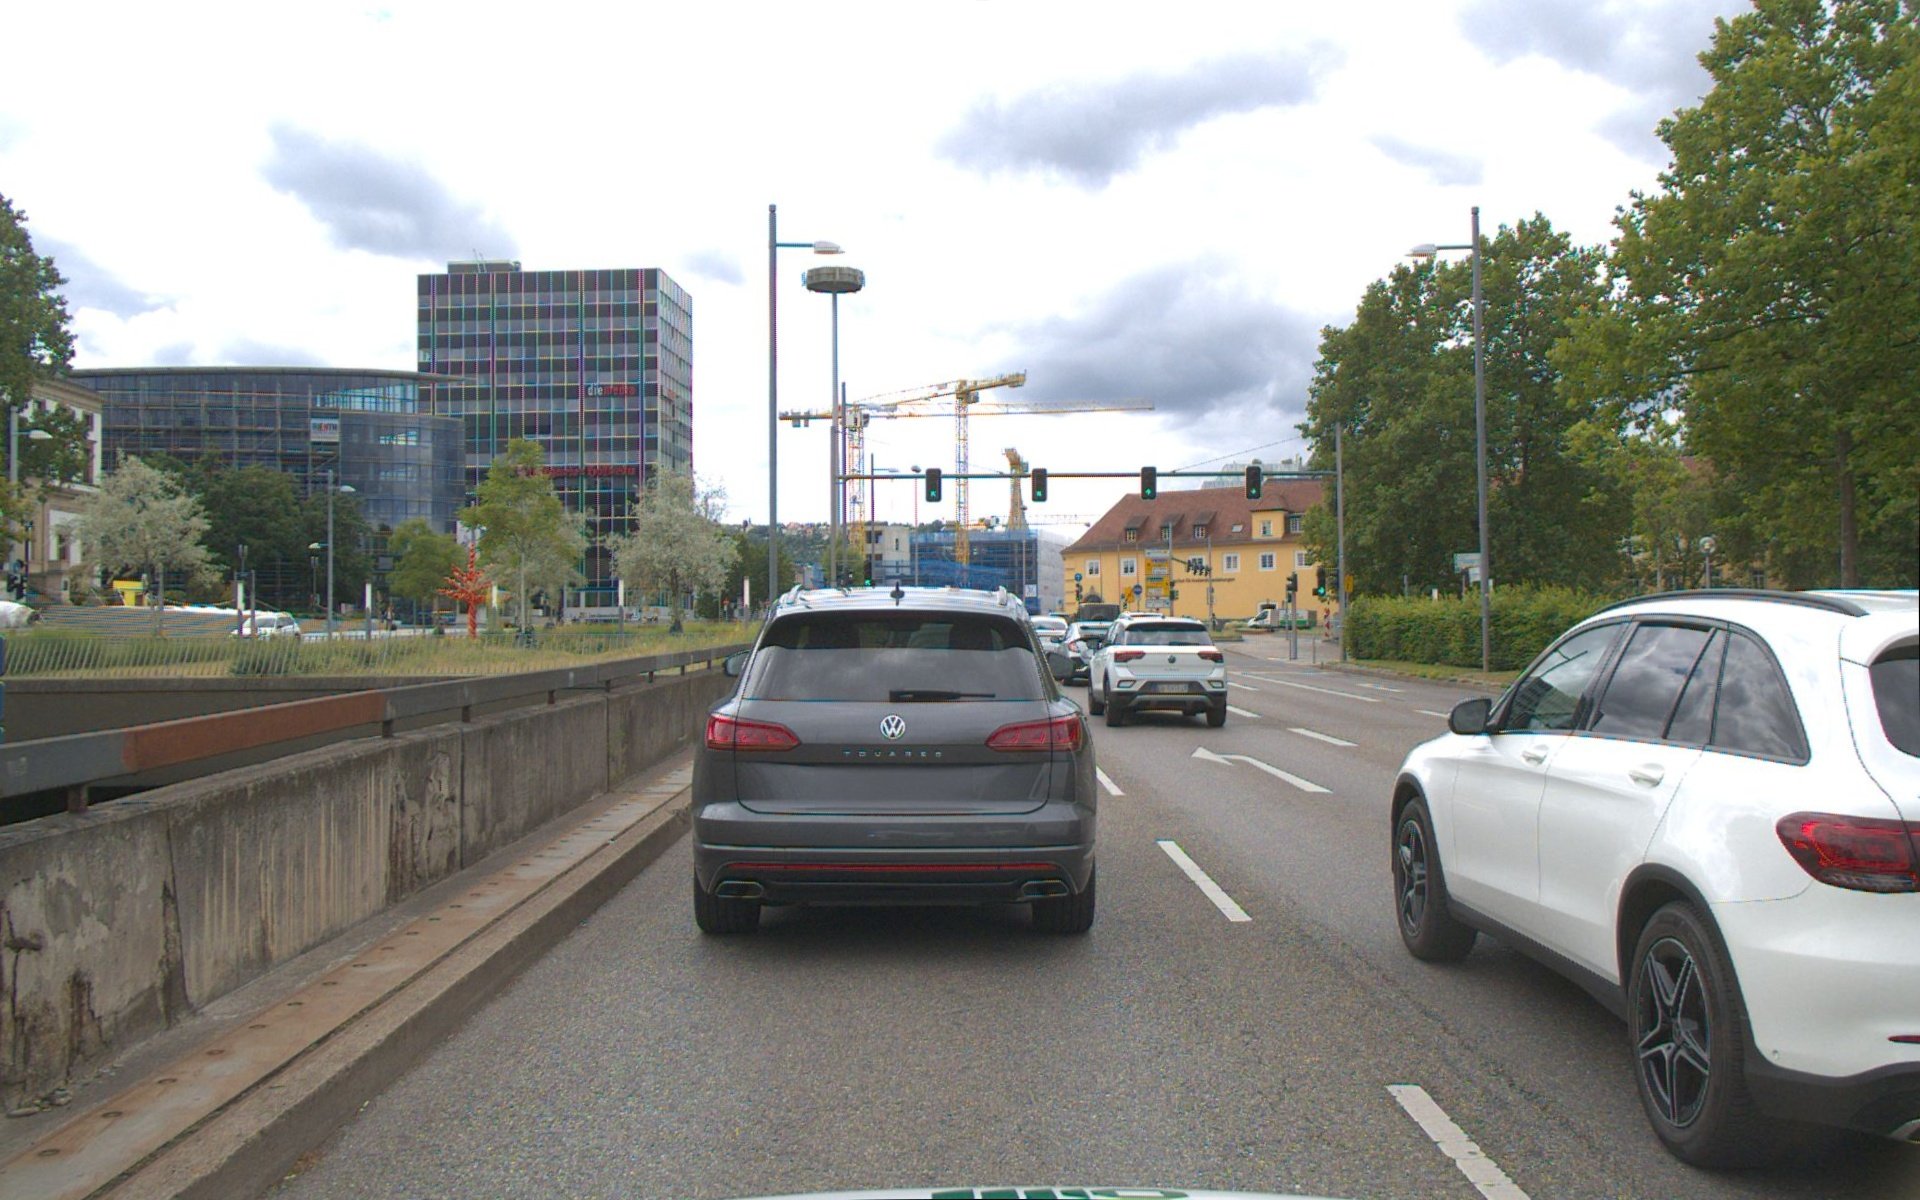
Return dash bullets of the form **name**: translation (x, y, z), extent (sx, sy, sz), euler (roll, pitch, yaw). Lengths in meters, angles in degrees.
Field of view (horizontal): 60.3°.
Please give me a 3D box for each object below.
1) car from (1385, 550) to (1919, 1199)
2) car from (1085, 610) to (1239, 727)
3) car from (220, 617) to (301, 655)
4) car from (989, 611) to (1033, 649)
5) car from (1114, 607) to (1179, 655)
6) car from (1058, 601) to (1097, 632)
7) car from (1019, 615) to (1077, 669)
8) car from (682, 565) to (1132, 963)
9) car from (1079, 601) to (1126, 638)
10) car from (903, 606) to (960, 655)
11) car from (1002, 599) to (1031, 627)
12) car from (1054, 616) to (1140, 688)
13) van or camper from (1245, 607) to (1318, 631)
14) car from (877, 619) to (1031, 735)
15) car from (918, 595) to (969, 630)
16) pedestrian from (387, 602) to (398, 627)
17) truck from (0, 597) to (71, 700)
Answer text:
- **car**: translation (2.969, 0.732, 5.966), extent (1.781, 1.676, 4.379), euler (0, 0, 0)
- **car**: translation (2.986, 0.971, 25.195), extent (1.855, 1.613, 3.800), euler (0, 0, -1)
- **car**: translation (-31.452, 1.606, 74.512), extent (1.683, 1.602, 4.612), euler (0, 0, 0)
- **car**: translation (2.457, 1.446, 79.436), extent (2.095, 1.758, 4.071), euler (0, -1, 2)
- **car**: translation (6.213, 1.011, 55.495), extent (1.766, 1.529, 3.981), euler (0, 0, 0)
- **car**: translation (5.945, 0.811, 83.959), extent (1.683, 1.529, 3.981), euler (0, 0, 0)
- **car**: translation (2.684, 1.250, 50.666), extent (1.683, 1.529, 3.982), euler (0, 0, 3)
- **car**: translation (-0.243, 0.699, 9.005), extent (1.893, 1.676, 3.999), euler (0, 0, -1)
- **car**: translation (6.082, 0.812, 70.744), extent (1.683, 1.529, 3.981), euler (0, 0, 0)
- **car**: translation (-0.917, 0.953, 53.478), extent (1.777, 1.522, 3.905), euler (0, 0, -1)
- **car**: translation (4.183, 0.978, 122.945), extent (1.953, 2.049, 3.999), euler (0, 0, -1)
- **car**: translation (3.114, 1.157, 38.243), extent (1.683, 1.529, 4.144), euler (0, 0, 0)
- **van or camper**: translation (27.630, 1.651, 142.106), extent (5.902, 2.049, 2.012), euler (0, -1, 35)
- **car**: translation (-0.096, 0.999, 23.008), extent (1.953, 1.411, 3.999), euler (0, 0, -1)
- **car**: translation (-0.698, 0.546, 73.964), extent (2.198, 1.529, 4.611), euler (0, 0, 0)
- **pedestrian**: translation (-38.496, 0.960, 112.249), extent (0.513, 1.678, 0.650), euler (1, -1, -2)
- **truck**: translation (-27.940, 1.357, 46.099), extent (2.413, 2.866, 7.079), euler (0, 0, 1)
